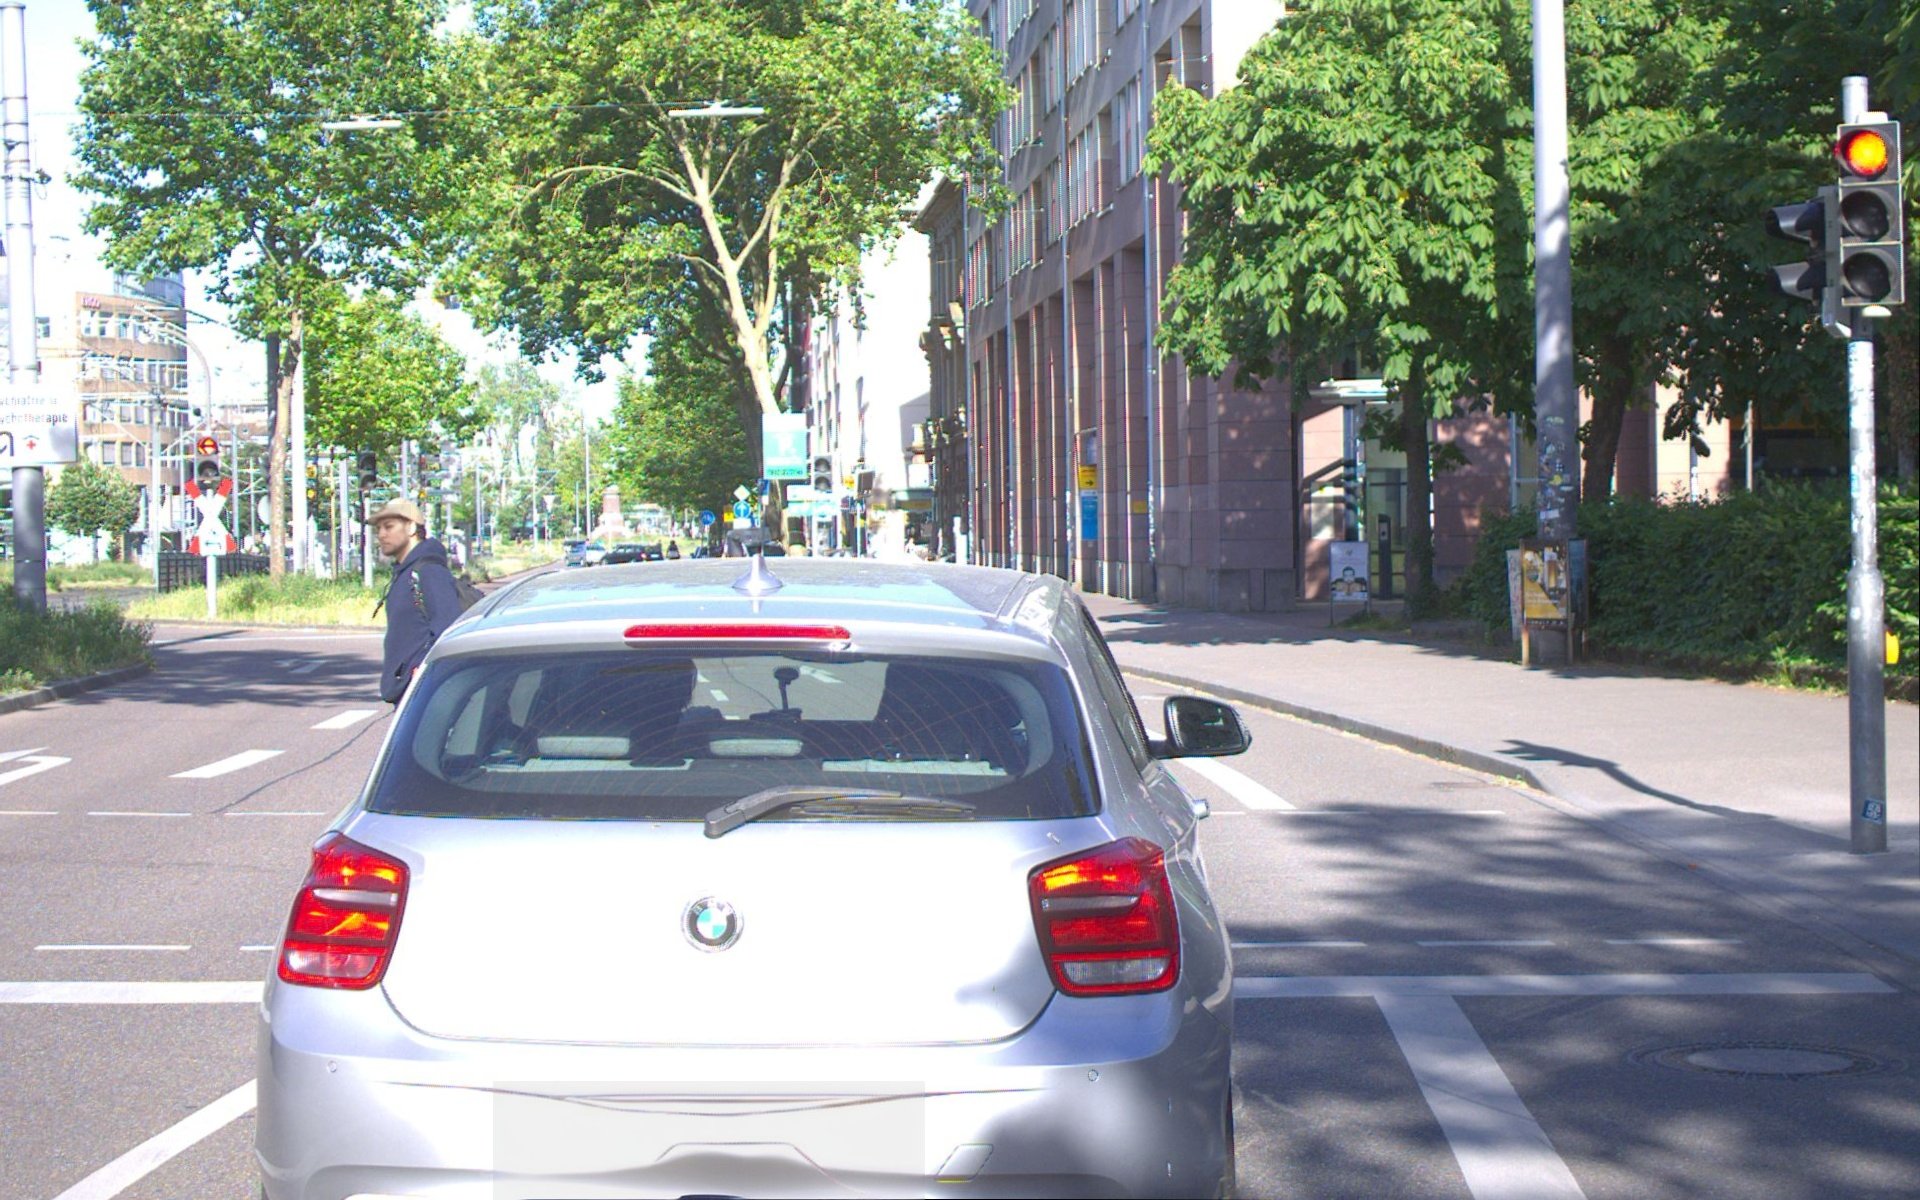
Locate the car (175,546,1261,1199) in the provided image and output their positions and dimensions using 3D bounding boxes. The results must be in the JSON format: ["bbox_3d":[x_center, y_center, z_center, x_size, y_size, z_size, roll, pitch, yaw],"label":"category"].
[{"bbox_3d":[-0.307,0.623,7.403,1.730,1.385,3.840,1,2,3],"label":"car"}]

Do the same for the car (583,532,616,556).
[{"bbox_3d":[-23.167,-3.590,220.608,1.993,1.481,4.001,-1,1,-7],"label":"car"}]

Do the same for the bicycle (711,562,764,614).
[{"bbox_3d":[-4.687,-0.269,72.588,0.831,1.038,1.874,-1,1,5],"label":"bicycle"}]

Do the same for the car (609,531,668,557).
[{"bbox_3d":[-19.069,-3.321,203.743,1.993,1.481,4.000,-1,1,-29],"label":"car"}]

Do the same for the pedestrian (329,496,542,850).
[{"bbox_3d":[-2.475,0.330,16.177,0.940,1.623,0.629,0,1,-13],"label":"pedestrian"}]

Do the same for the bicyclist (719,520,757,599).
[{"bbox_3d":[-4.688,-0.857,72.569,0.658,1.651,0.765,-1,1,5],"label":"bicyclist"}]
